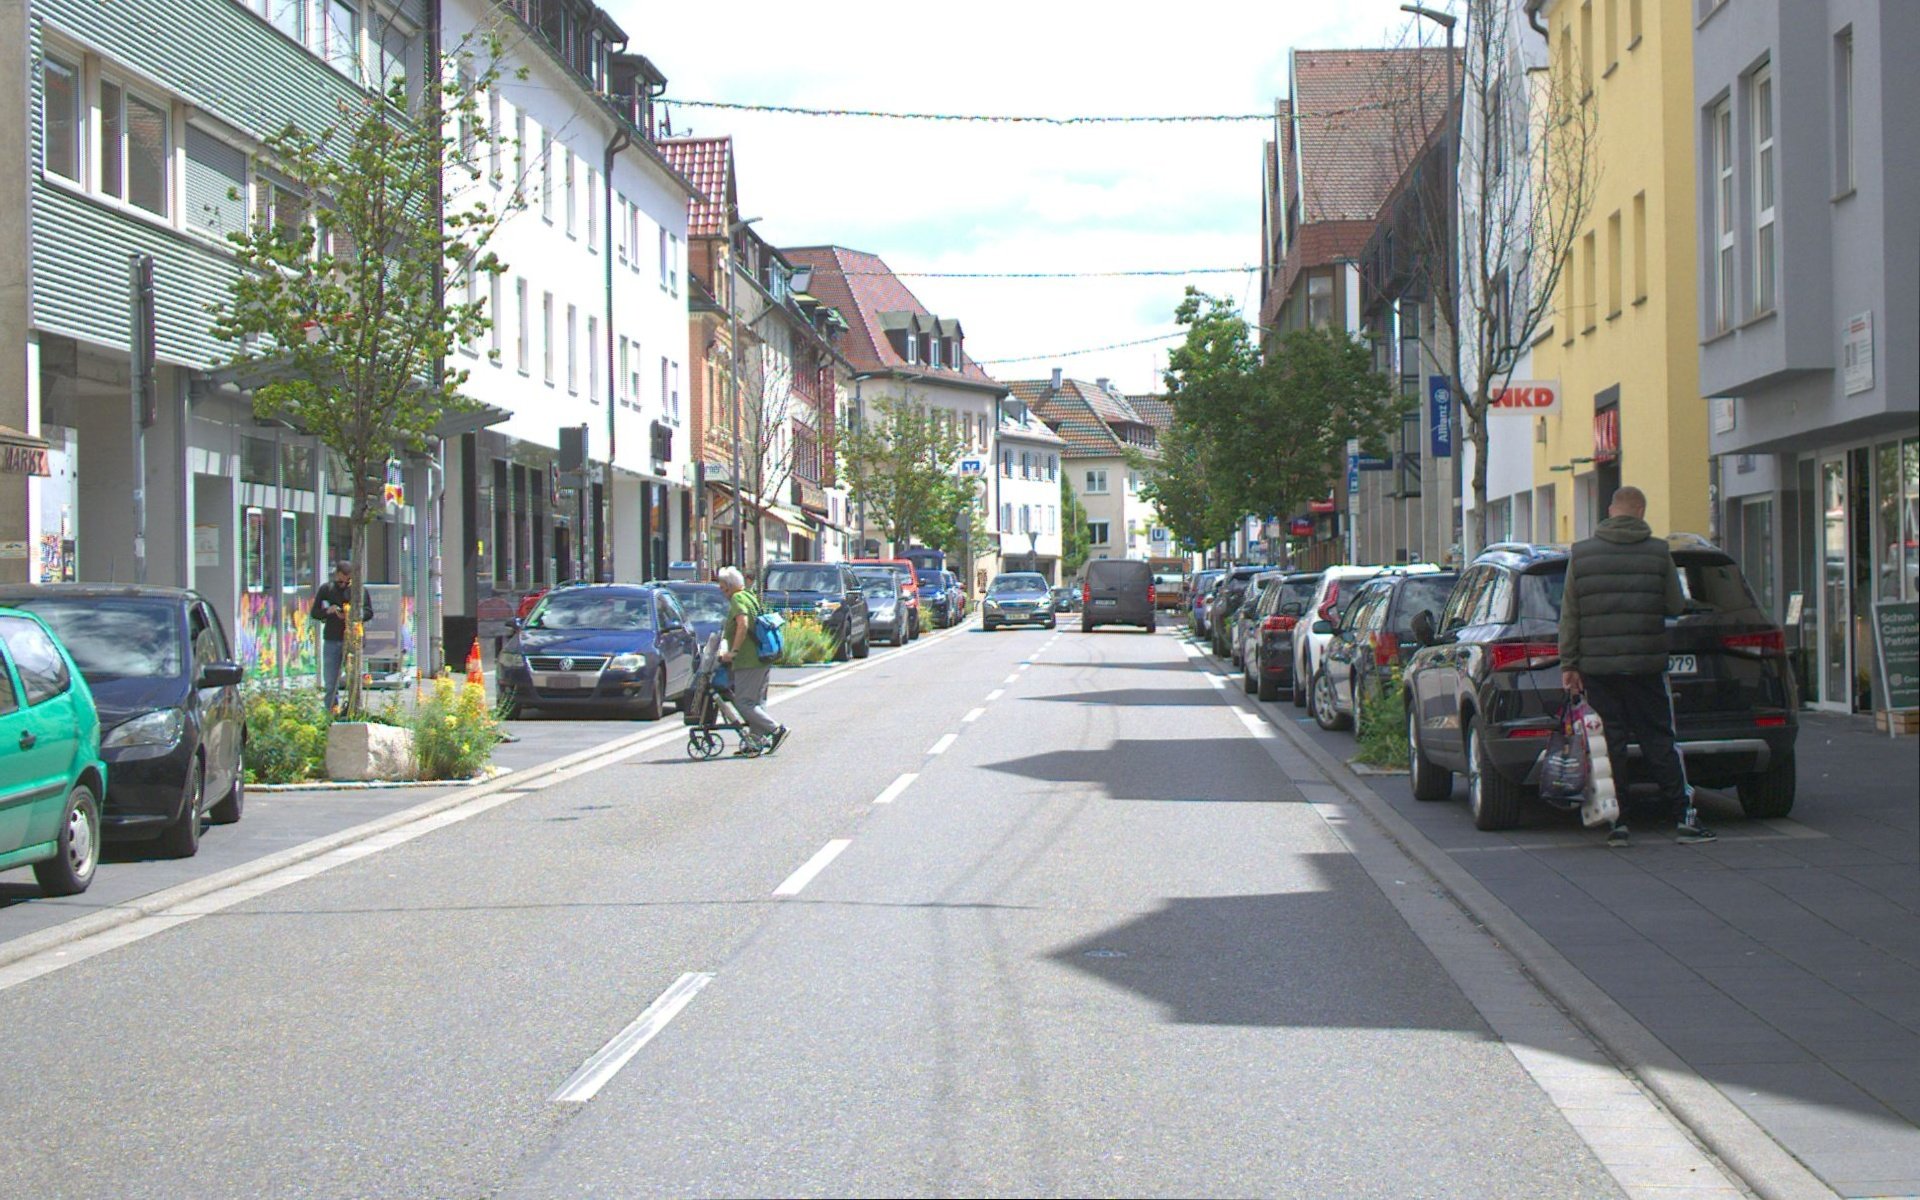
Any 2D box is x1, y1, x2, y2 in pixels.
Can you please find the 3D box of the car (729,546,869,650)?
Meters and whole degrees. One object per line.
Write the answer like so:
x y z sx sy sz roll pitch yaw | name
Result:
-2.823 -0.026 61.377 1.816 1.749 4.668 1 0 6 | car

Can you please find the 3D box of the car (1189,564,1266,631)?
6.267 -0.048 80.596 1.721 1.488 4.108 1 0 4 | car

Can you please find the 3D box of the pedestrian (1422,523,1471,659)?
6.636 -0.122 46.911 0.588 1.834 0.576 1 0 3 | pedestrian

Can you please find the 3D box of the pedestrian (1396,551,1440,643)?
8.689 -0.055 65.219 0.741 1.731 0.757 1 0 3 | pedestrian

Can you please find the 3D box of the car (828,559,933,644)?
-1.680 0.037 74.519 1.816 1.749 4.463 1 0 4 | car

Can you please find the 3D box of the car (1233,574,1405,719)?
4.180 0.504 40.605 1.689 1.467 4.524 1 2 2 | car

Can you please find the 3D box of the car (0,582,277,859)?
-4.980 0.630 19.870 1.596 1.441 3.557 1 0 -5 | car

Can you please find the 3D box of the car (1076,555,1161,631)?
4.018 -0.174 87.819 2.041 1.842 4.999 1 0 2 | car

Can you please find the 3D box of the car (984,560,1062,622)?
1.710 -0.227 92.169 1.905 1.558 4.645 1 0 3 | car

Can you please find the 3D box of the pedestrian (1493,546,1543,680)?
7.708 0.179 47.520 0.588 1.834 0.576 1 0 3 | pedestrian

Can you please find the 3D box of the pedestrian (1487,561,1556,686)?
7.044 0.291 43.144 0.750 1.548 0.726 -1 0 2 | pedestrian

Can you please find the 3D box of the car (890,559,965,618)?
-0.877 -0.326 94.668 1.799 1.592 4.388 0 1 3 | car

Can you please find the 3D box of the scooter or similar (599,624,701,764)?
-2.568 0.774 28.504 0.781 1.122 0.630 1 0 -2 | scooter or similar

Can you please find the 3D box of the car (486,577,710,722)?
-3.973 0.502 38.406 1.790 1.507 4.712 0 0 3 | car

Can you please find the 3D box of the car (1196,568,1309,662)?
5.118 0.262 60.518 1.721 1.571 4.109 1 0 2 | car

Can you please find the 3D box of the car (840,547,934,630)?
-1.716 -0.263 82.268 1.816 1.882 4.840 1 0 4 | car

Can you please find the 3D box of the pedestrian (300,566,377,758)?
-5.778 0.574 31.972 0.548 1.751 0.729 1 0 0 | pedestrian

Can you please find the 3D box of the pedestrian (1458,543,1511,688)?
6.767 0.199 44.337 0.588 1.834 0.576 1 0 3 | pedestrian

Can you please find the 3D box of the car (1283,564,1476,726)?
4.320 0.452 35.838 1.689 1.568 3.756 1 0 3 | car

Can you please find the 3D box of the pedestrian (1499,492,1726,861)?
3.415 0.395 18.075 0.975 1.857 0.864 -2 0 2 | pedestrian

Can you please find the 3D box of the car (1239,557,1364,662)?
5.082 0.149 51.574 1.721 1.471 4.353 1 0 4 | car

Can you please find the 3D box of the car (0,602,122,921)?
-5.048 0.700 15.094 1.586 1.409 3.668 1 0 4 | car

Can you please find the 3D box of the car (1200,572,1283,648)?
6.120 0.216 75.113 1.721 1.571 4.428 1 0 4 | car

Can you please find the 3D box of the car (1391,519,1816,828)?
3.717 0.369 20.559 1.799 1.598 4.204 -2 1 2 | car

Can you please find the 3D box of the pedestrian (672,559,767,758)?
-1.991 0.482 28.523 0.731 1.612 0.651 1 0 -2 | pedestrian

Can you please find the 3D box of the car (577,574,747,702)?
-3.722 0.444 43.524 1.790 1.498 4.178 1 0 0 | car

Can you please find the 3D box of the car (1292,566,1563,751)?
4.011 0.481 30.136 1.689 1.435 4.296 -3 0 0 | car
